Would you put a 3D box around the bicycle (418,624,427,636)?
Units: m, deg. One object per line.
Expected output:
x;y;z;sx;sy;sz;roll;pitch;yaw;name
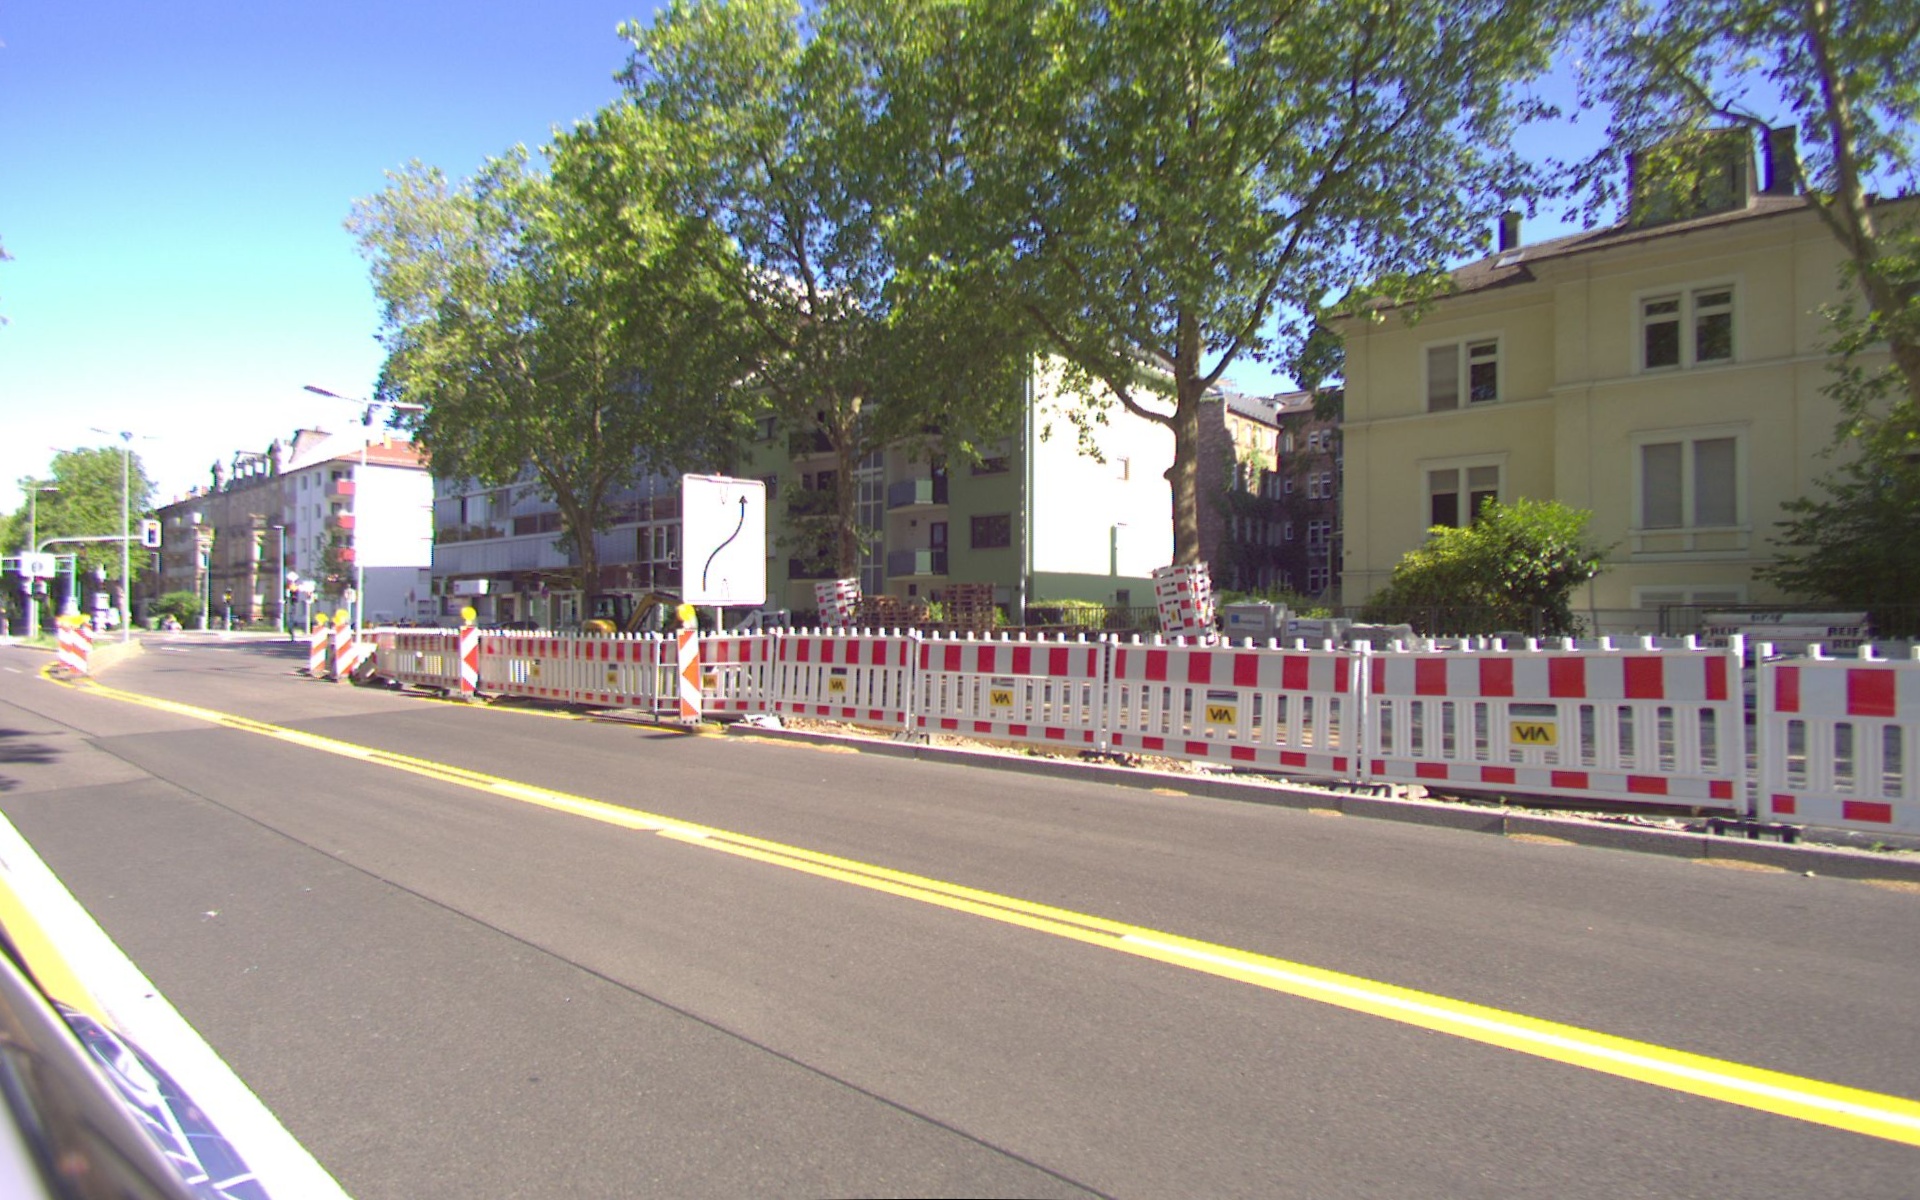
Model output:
-43.975;2.429;82.776;0.500;0.985;1.890;0;-1;-33;bicycle

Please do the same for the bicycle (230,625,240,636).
-65.301;2.753;91.204;1.939;0.965;0.301;-1;-2;41;bicycle

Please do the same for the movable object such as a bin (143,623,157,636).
-87.925;3.197;109.846;1.473;1.371;0.883;-3;-5;42;movable object such as a bin

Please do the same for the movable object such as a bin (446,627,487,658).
-21.780;1.857;44.673;0.936;1.348;1.395;-1;-1;43;movable object such as a bin

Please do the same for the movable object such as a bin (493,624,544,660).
-18.407;1.728;42.227;1.251;1.433;1.627;-1;-1;15;movable object such as a bin

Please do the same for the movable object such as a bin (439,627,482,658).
-22.475;1.886;45.530;1.157;1.348;1.395;-1;-1;43;movable object such as a bin

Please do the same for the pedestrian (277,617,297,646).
-40.533;1.916;60.931;0.854;1.724;1.013;1;-2;-42;pedestrian

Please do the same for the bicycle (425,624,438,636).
-43.307;2.485;82.931;0.471;0.955;1.954;0;-1;-40;bicycle

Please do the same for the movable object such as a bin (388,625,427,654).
-27.528;1.965;50.399;1.855;1.399;1.201;-1;-1;43;movable object such as a bin

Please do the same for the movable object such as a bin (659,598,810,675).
-7.415;1.144;32.833;5.599;2.296;1.971;-1;-2;43;movable object such as a bin

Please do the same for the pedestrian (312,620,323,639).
-51.471;2.399;81.059;0.695;1.508;0.593;-1;-1;44;pedestrian

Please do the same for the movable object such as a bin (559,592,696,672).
-12.144;1.122;36.811;5.347;2.727;2.126;-1;-1;38;movable object such as a bin

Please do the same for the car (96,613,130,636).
-98.596;2.858;117.765;5.285;2.465;2.221;-3;-5;42;car

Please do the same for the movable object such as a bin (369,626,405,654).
-29.350;2.033;51.860;1.855;1.399;1.102;-1;-1;43;movable object such as a bin

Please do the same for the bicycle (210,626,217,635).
-70.869;2.899;96.076;1.413;0.777;0.296;-2;-2;42;bicycle

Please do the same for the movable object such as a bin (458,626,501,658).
-20.928;1.825;44.080;1.068;1.348;1.395;-1;-1;42;movable object such as a bin

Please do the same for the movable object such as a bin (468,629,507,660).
-20.110;1.866;43.032;1.539;1.280;0.969;-1;-1;41;movable object such as a bin

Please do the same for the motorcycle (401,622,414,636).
-45.607;2.383;83.474;0.604;1.150;1.786;0;-1;-40;motorcycle

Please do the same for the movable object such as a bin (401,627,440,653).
-26.243;1.918;49.229;1.241;1.212;1.379;-1;-1;44;movable object such as a bin
